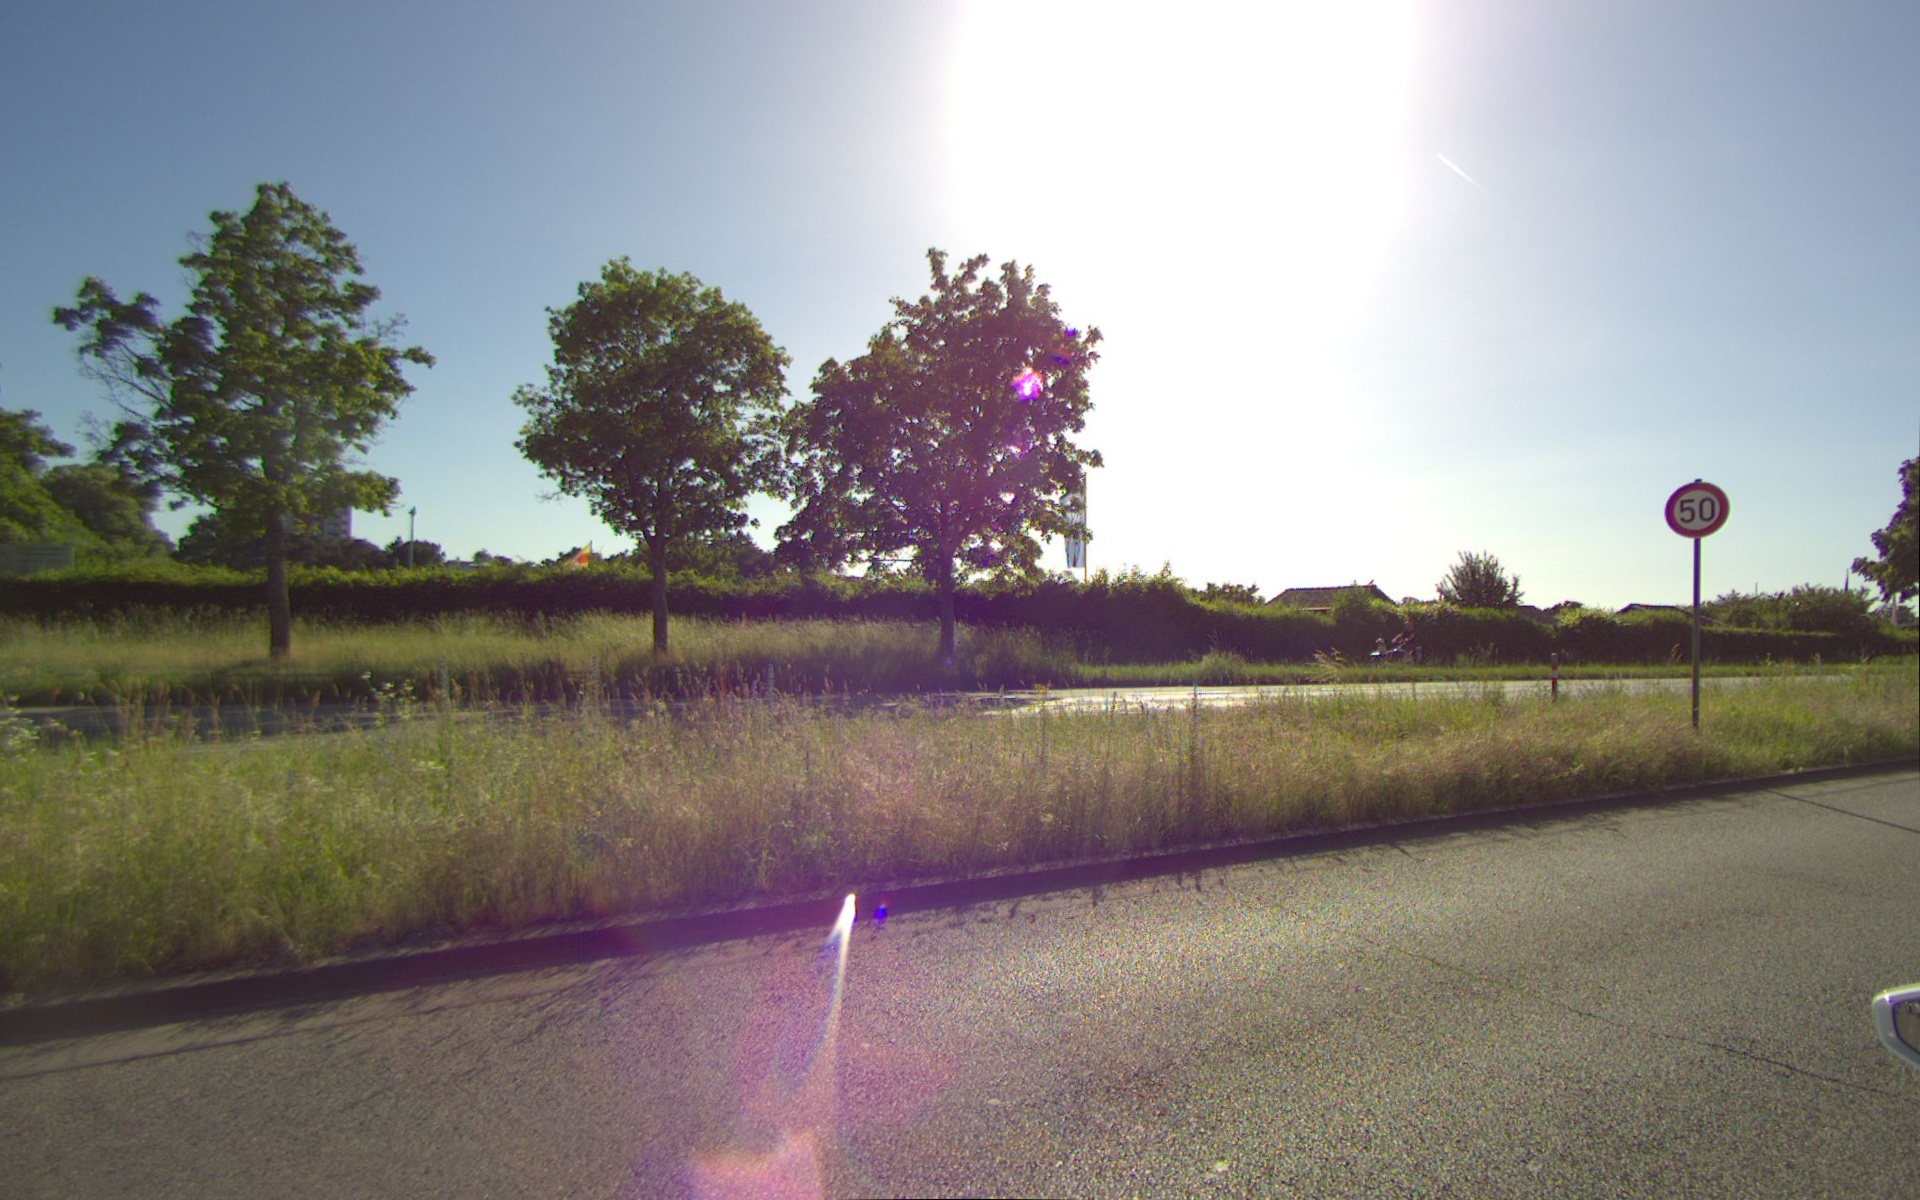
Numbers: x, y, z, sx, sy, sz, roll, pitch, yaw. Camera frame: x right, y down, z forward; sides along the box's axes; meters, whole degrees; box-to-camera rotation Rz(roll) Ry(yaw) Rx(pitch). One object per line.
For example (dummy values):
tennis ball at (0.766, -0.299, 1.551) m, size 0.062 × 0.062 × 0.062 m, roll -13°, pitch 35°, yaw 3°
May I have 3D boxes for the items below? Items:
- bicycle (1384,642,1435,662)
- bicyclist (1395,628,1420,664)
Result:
bicycle at (16.319, 1.885, 36.477) m, size 1.848 × 0.704 × 0.564 m, roll 2°, pitch -1°, yaw -23°
bicyclist at (16.237, 1.649, 36.438) m, size 0.567 × 1.273 × 0.582 m, roll 2°, pitch 0°, yaw -22°
